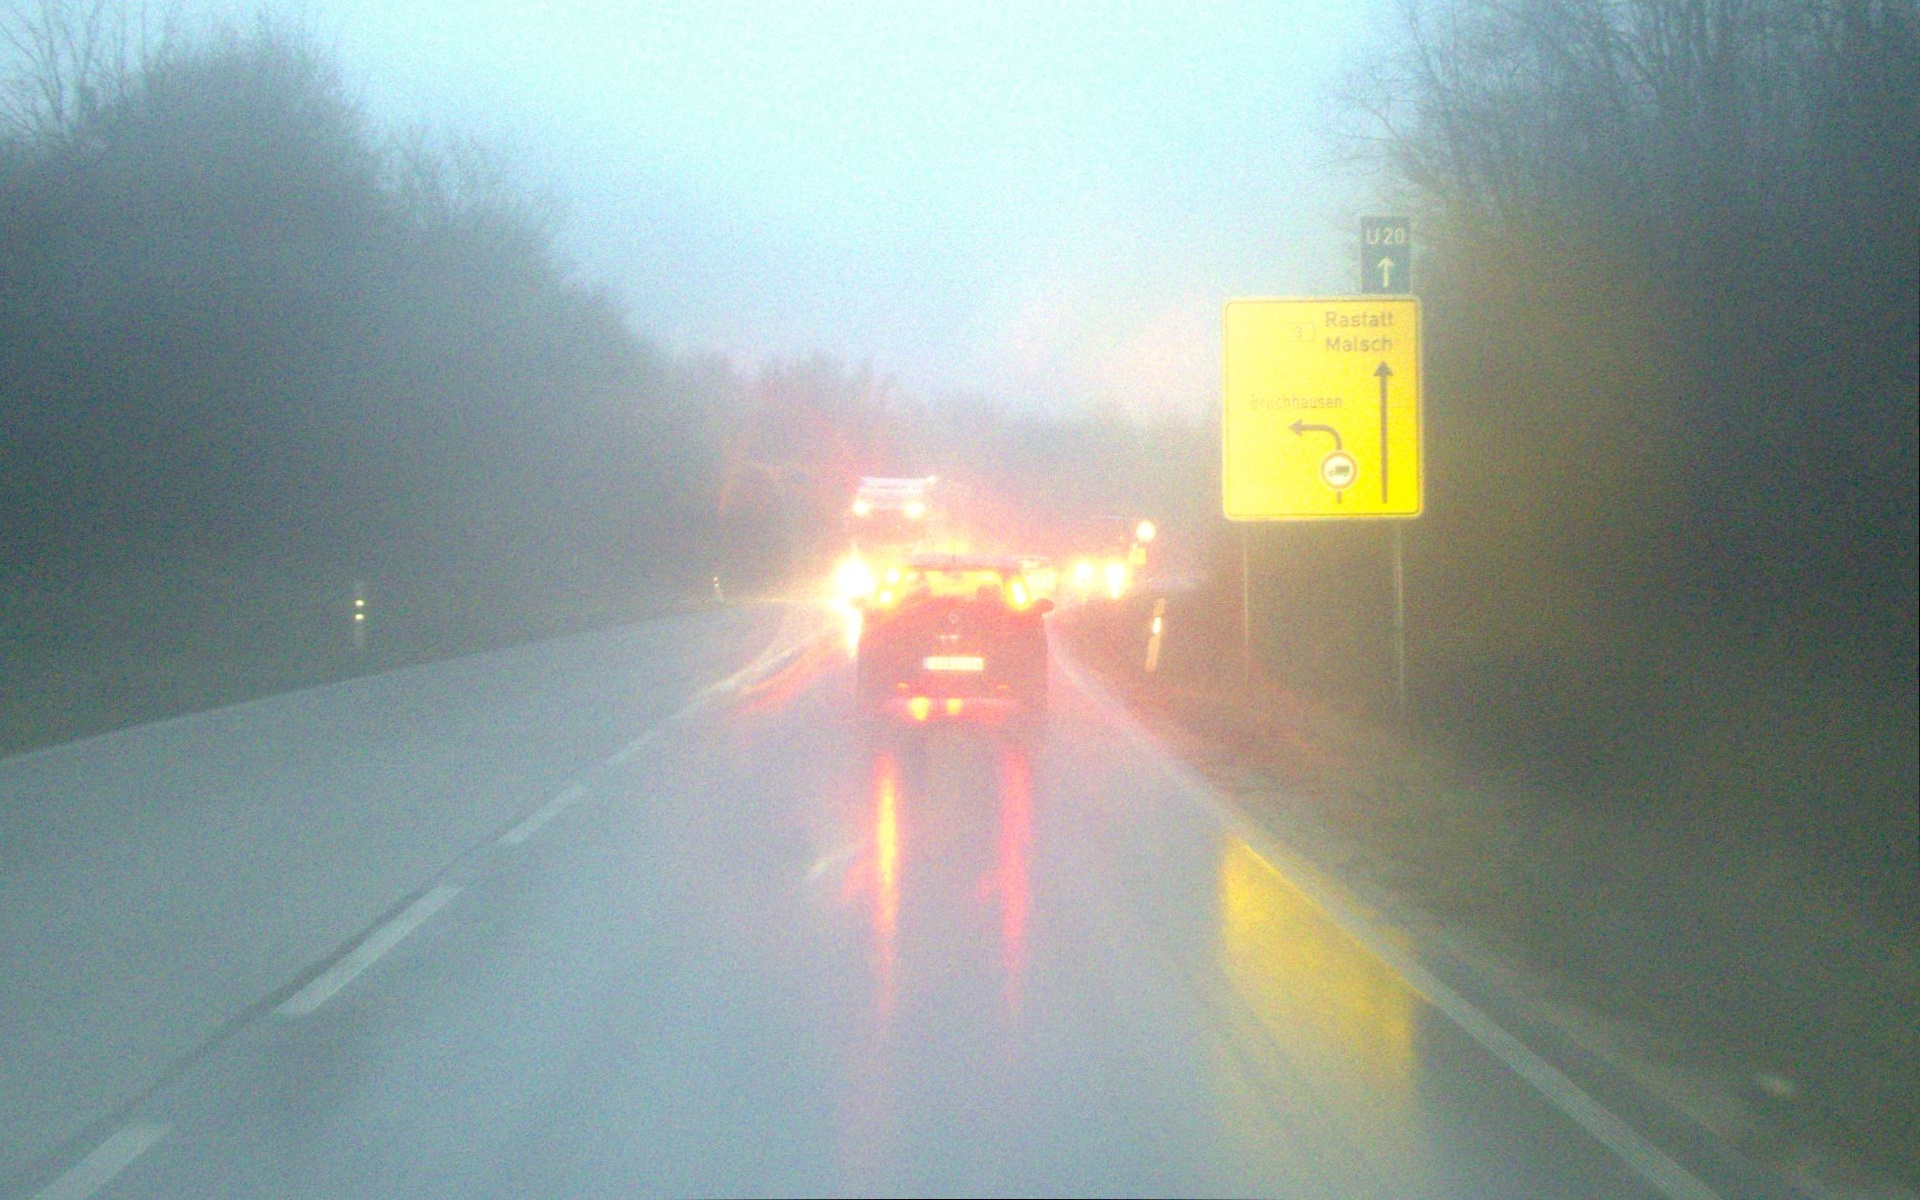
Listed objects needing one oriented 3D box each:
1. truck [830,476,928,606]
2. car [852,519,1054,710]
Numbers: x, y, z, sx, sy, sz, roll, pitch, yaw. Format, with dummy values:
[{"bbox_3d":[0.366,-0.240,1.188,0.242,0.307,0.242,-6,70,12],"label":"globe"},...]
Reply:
[{"bbox_3d":[-2.611,-1.942,113.010,2.799,4.112,7.199,0,1,2],"label":"truck"},{"bbox_3d":[-0.076,0.084,31.518,1.727,1.637,4.000,0,1,0],"label":"car"}]
